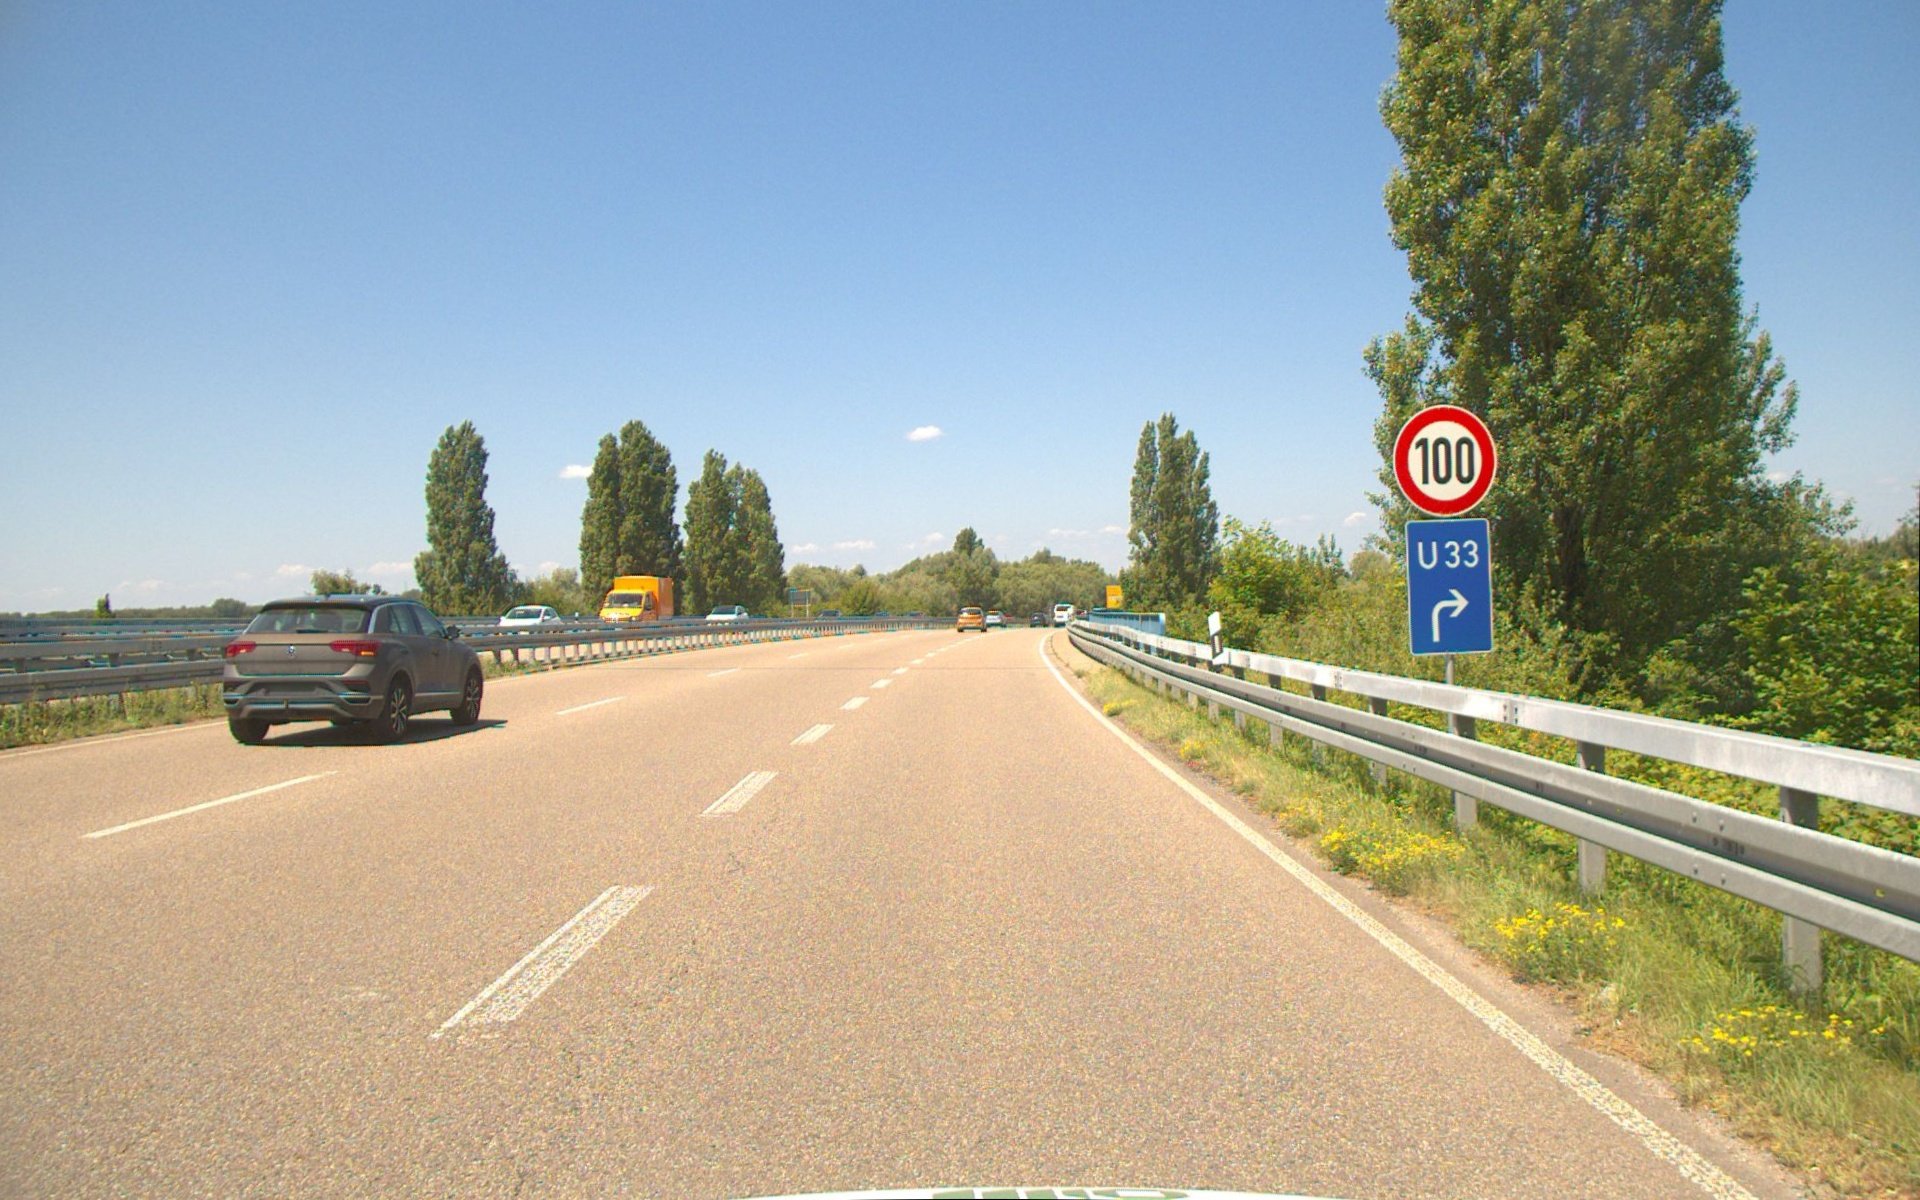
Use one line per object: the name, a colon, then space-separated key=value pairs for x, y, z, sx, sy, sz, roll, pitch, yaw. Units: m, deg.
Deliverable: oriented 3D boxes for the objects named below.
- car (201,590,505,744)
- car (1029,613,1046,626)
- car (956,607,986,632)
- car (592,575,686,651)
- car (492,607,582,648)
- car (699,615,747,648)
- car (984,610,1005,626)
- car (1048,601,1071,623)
car: x=-6.767 y=0.676 z=18.990 sx=1.803 sy=1.556 sz=4.470 roll=0 pitch=0 yaw=0
car: x=9.242 y=2.252 z=196.506 sx=1.902 sy=1.489 sz=4.002 roll=0 pitch=0 yaw=5
car: x=0.677 y=1.177 z=102.087 sx=1.803 sy=1.489 sz=4.000 roll=0 pitch=0 yaw=0
car: x=-14.841 y=0.592 z=76.970 sx=2.256 sy=3.349 sz=7.033 roll=-1 pitch=0 yaw=6
car: x=-16.131 y=1.036 z=63.305 sx=1.813 sy=1.457 sz=4.798 roll=-1 pitch=0 yaw=5
car: x=-13.801 y=1.827 z=96.523 sx=1.814 sy=1.850 sz=4.797 roll=-1 pitch=-1 yaw=4
car: x=3.184 y=1.665 z=152.190 sx=1.803 sy=1.476 sz=4.001 roll=0 pitch=0 yaw=3
car: x=8.697 y=1.034 z=144.879 sx=1.802 sy=1.928 sz=4.003 roll=0 pitch=0 yaw=7
